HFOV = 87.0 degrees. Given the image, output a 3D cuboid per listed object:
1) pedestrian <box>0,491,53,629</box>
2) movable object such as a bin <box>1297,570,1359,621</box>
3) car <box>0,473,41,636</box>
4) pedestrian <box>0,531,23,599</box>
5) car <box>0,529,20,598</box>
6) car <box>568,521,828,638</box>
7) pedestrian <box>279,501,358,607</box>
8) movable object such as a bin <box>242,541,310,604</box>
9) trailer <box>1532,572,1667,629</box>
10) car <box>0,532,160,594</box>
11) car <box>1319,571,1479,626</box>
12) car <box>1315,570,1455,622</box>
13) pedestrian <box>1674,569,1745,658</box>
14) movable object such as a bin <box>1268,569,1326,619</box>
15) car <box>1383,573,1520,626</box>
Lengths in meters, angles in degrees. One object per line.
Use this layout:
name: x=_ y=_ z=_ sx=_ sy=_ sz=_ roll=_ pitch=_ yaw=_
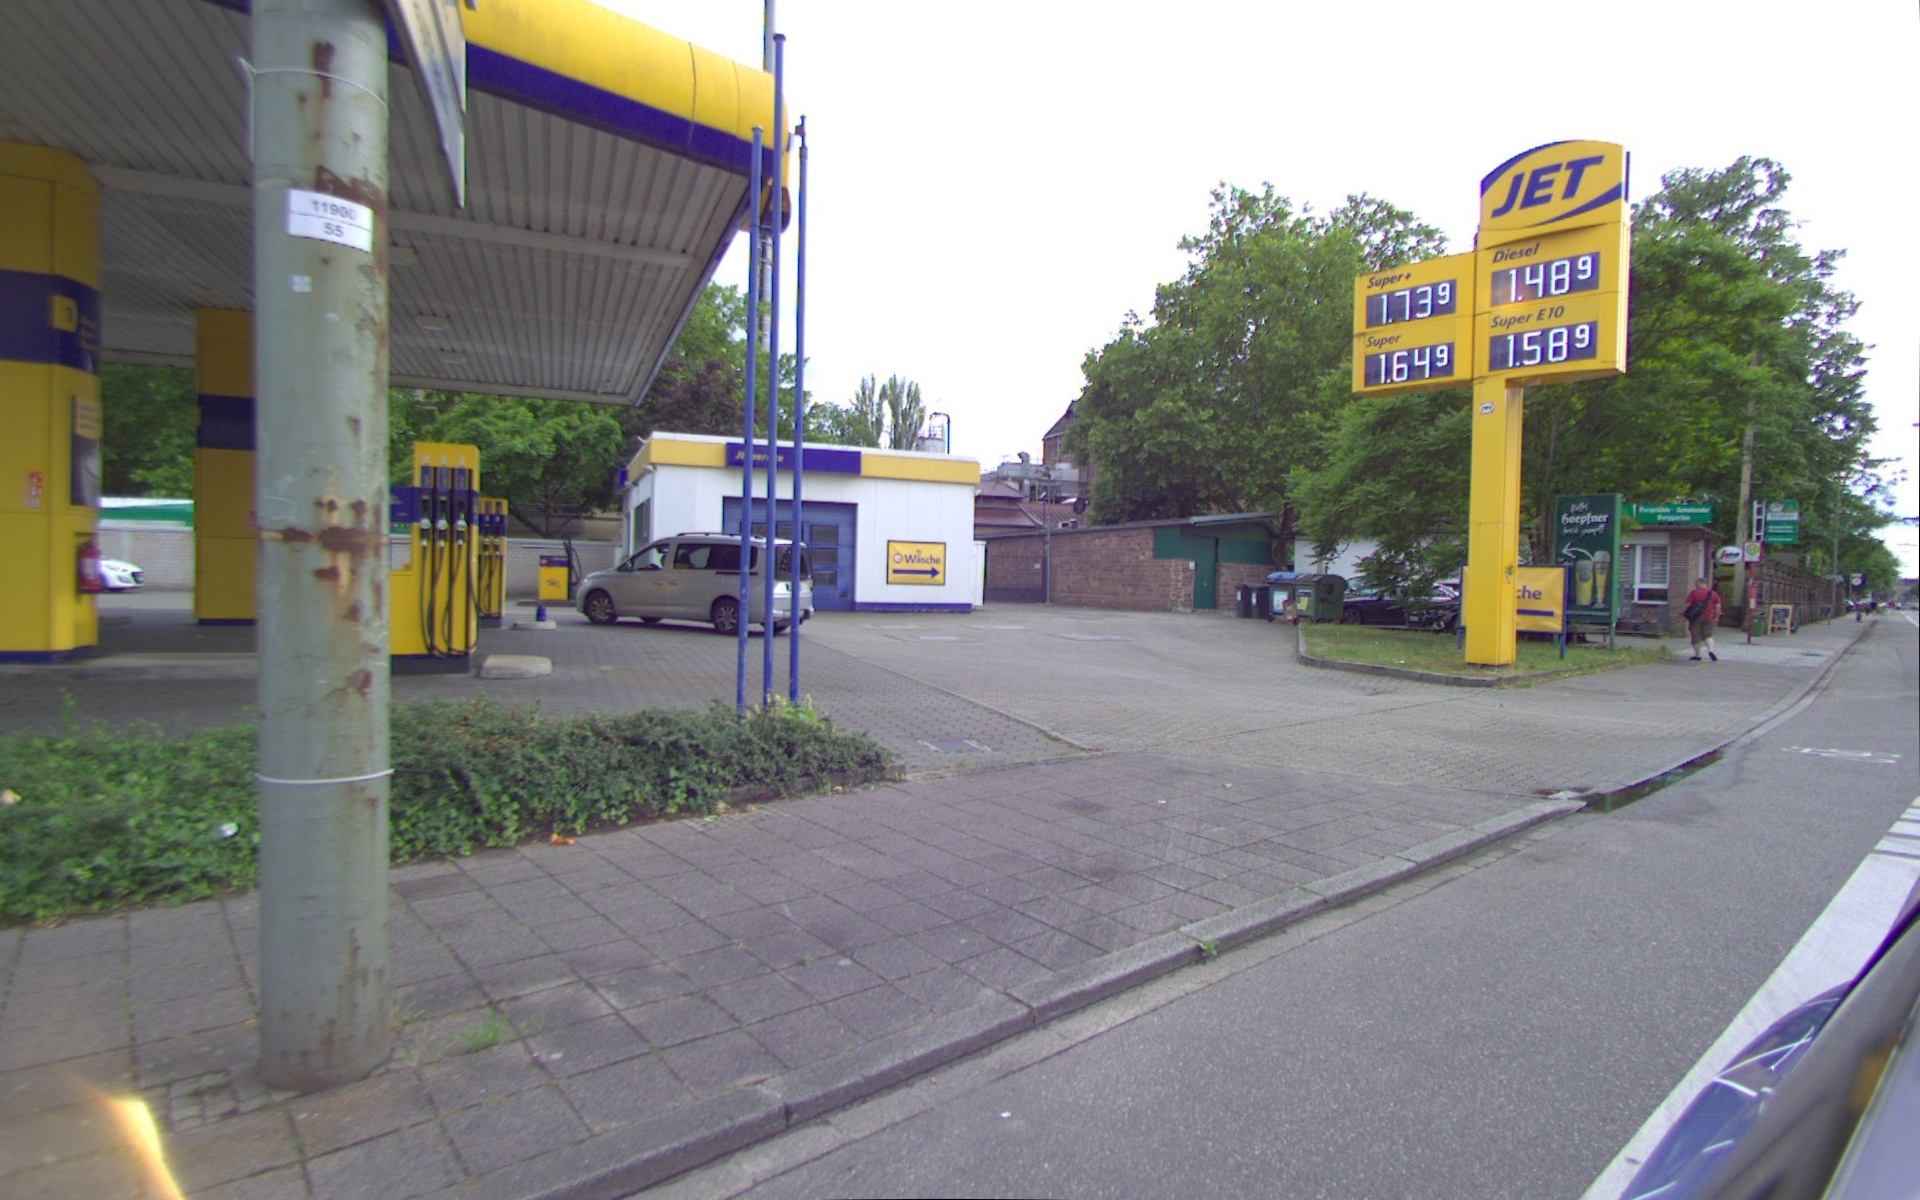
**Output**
pedestrian: x=-12.784 y=-0.533 z=13.618 sx=0.614 sy=1.809 sz=0.709 roll=0 pitch=0 yaw=-18
movable object such as a bin: x=9.997 y=-0.128 z=27.538 sx=1.136 sy=1.336 sz=1.123 roll=0 pitch=1 yaw=-11
car: x=-13.891 y=-0.574 z=11.914 sx=4.165 sy=2.012 sz=1.828 roll=0 pitch=3 yaw=-24
pedestrian: x=-22.562 y=-0.827 z=23.820 sx=0.539 sy=1.563 sz=0.500 roll=3 pitch=0 yaw=-18
car: x=-24.727 y=-0.953 z=22.857 sx=4.661 sy=1.616 sz=1.946 roll=3 pitch=0 yaw=-23
car: x=-5.000 y=-0.447 z=19.368 sx=4.472 sy=1.865 sz=1.975 roll=4 pitch=3 yaw=20
pedestrian: x=-11.614 y=-0.825 z=18.344 sx=0.952 sy=1.842 sz=0.603 roll=4 pitch=0 yaw=2
movable object such as a bin: x=-12.399 y=-0.498 z=18.358 sx=0.781 sy=1.079 sz=0.603 roll=4 pitch=1 yaw=2
trailer: x=20.148 y=-0.039 z=31.944 sx=1.746 sy=1.549 sz=3.285 roll=-3 pitch=5 yaw=-45
car: x=-26.414 y=-1.080 z=29.549 sx=4.332 sy=1.606 sz=1.963 roll=3 pitch=0 yaw=-22
car: x=12.863 y=-0.053 z=29.791 sx=3.920 sy=1.536 sz=1.829 roll=0 pitch=1 yaw=-5
car: x=14.524 y=-0.173 z=34.707 sx=1.968 sy=1.688 sz=3.989 roll=0 pitch=1 yaw=-45
pedestrian: x=15.799 y=0.261 z=21.367 sx=0.859 sy=1.768 sz=0.846 roll=4 pitch=3 yaw=19
movable object such as a bin: x=9.582 y=-0.180 z=28.813 sx=1.136 sy=1.376 sz=1.123 roll=0 pitch=1 yaw=-11
car: x=13.236 y=-0.047 z=27.182 sx=3.932 sy=1.304 sz=1.996 roll=0 pitch=1 yaw=-42
